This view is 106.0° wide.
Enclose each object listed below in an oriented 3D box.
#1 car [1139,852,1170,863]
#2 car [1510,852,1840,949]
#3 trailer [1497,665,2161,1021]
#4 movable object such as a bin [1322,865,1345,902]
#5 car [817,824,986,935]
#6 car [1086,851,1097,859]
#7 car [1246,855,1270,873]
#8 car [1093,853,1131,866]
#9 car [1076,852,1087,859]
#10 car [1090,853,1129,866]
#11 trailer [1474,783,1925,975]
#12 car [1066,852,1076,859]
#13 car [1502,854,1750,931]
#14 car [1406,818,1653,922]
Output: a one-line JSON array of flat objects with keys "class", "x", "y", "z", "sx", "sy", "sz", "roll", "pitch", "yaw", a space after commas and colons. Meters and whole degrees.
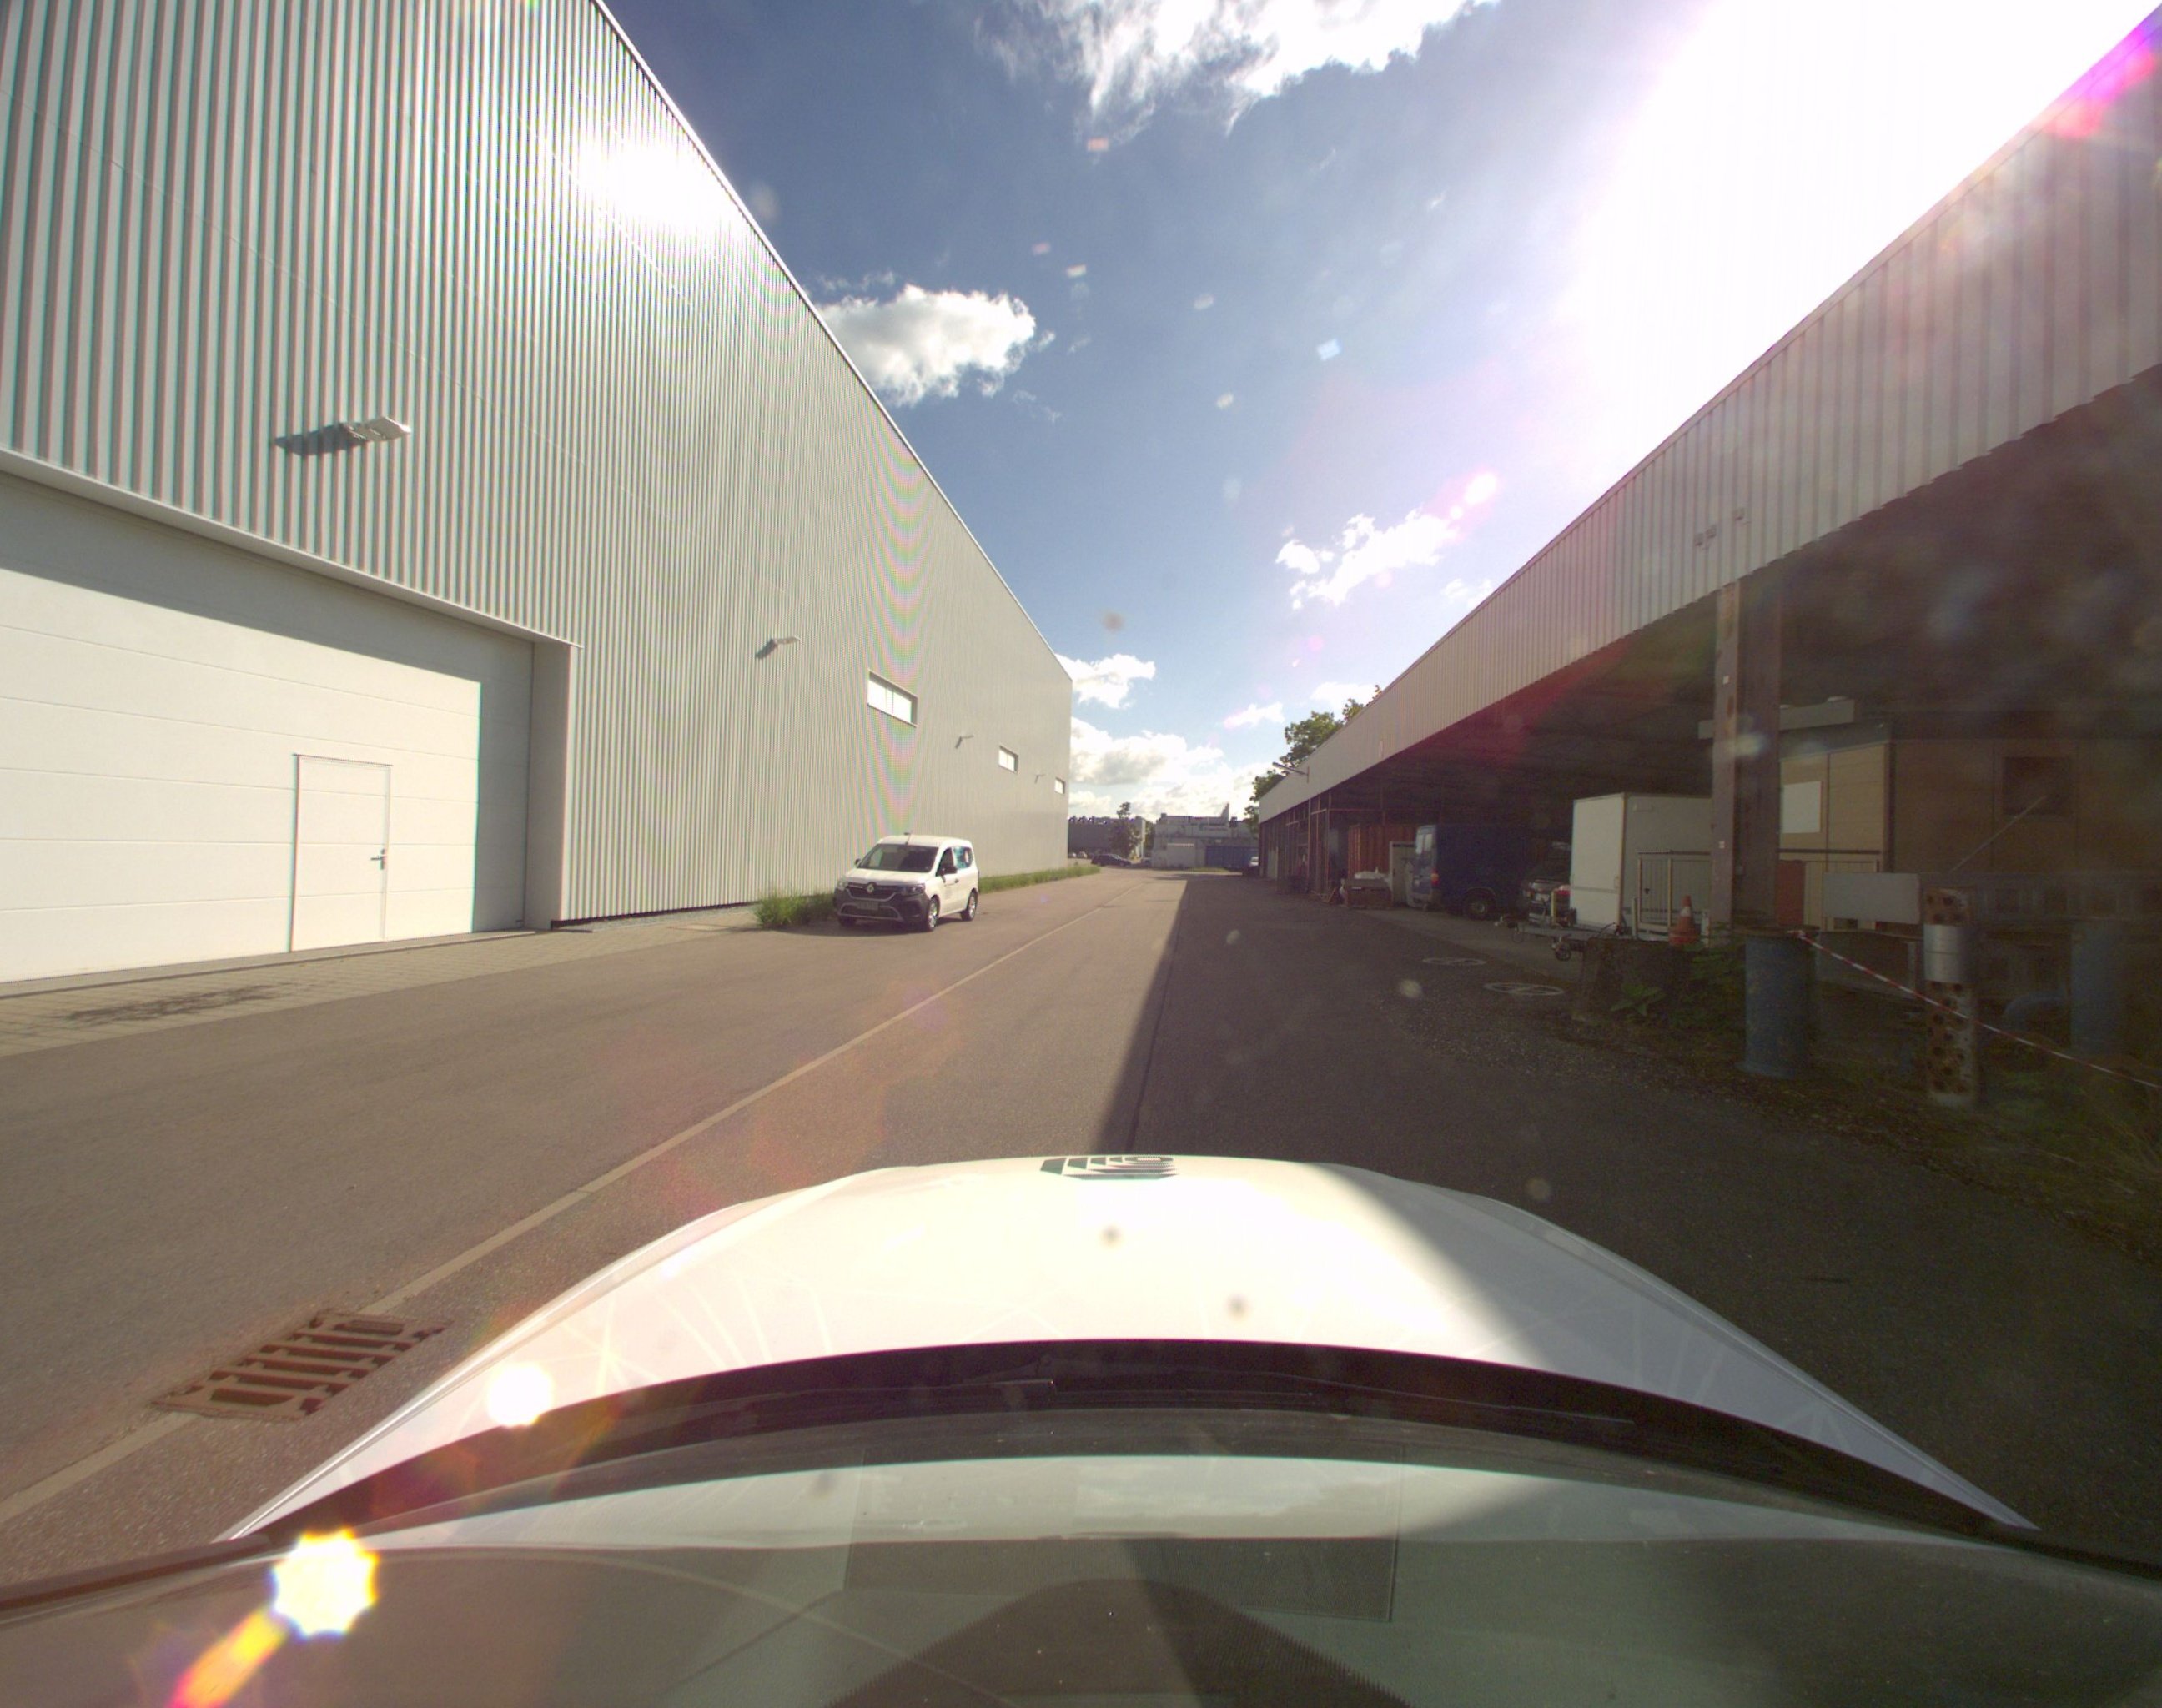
[{"class": "car", "x": 11.354, "y": 0.520, "z": 125.554, "sx": 4.500, "sy": 1.508, "sz": 1.913, "roll": 1, "pitch": 0, "yaw": 8}, {"class": "car", "x": 10.003, "y": 0.742, "z": 14.003, "sx": 4.308, "sy": 1.496, "sz": 1.780, "roll": 1, "pitch": 0, "yaw": 5}, {"class": "trailer", "x": 10.265, "y": -0.099, "z": 8.739, "sx": 9.983, "sy": 3.216, "sz": 2.860, "roll": 1, "pitch": 0, "yaw": 7}, {"class": "movable object such as a bin", "x": 8.082, "y": 0.933, "z": 26.126, "sx": 0.578, "sy": 1.164, "sz": 1.242, "roll": 0, "pitch": 0, "yaw": 12}, {"class": "car", "x": -3.428, "y": 0.454, "z": 16.534, "sx": 1.880, "sy": 1.845, "sz": 4.367, "roll": 3, "pitch": 0, "yaw": 7}, {"class": "car", "x": 2.513, "y": 0.255, "z": 195.133, "sx": 2.182, "sy": 1.736, "sz": 4.008, "roll": 0, "pitch": -1, "yaw": 7}, {"class": "car", "x": 18.208, "y": 1.018, "z": 83.954, "sx": 1.983, "sy": 1.585, "sz": 4.181, "roll": 1, "pitch": 1, "yaw": 7}, {"class": "car", "x": 3.916, "y": 0.654, "z": 101.874, "sx": 4.499, "sy": 1.508, "sz": 1.914, "roll": 1, "pitch": 0, "yaw": 9}, {"class": "car", "x": 0.221, "y": 0.316, "z": 197.143, "sx": 2.182, "sy": 1.736, "sz": 4.008, "roll": 0, "pitch": -1, "yaw": 7}, {"class": "car", "x": 3.510, "y": 0.626, "z": 98.656, "sx": 4.499, "sy": 1.508, "sz": 1.914, "roll": 1, "pitch": 0, "yaw": 9}, {"class": "trailer", "x": 8.381, "y": 0.289, "z": 11.538, "sx": 4.780, "sy": 2.391, "sz": 1.833, "roll": 1, "pitch": 0, "yaw": 12}, {"class": "car", "x": -2.378, "y": 0.359, "z": 197.117, "sx": 1.983, "sy": 1.736, "sz": 4.008, "roll": 0, "pitch": -1, "yaw": 7}, {"class": "car", "x": 11.230, "y": 0.766, "z": 17.011, "sx": 3.970, "sy": 1.472, "sz": 1.790, "roll": 1, "pitch": 0, "yaw": 3}, {"class": "car", "x": 10.842, "y": 0.357, "z": 20.054, "sx": 4.951, "sy": 2.325, "sz": 2.004, "roll": 1, "pitch": 0, "yaw": 8}]
